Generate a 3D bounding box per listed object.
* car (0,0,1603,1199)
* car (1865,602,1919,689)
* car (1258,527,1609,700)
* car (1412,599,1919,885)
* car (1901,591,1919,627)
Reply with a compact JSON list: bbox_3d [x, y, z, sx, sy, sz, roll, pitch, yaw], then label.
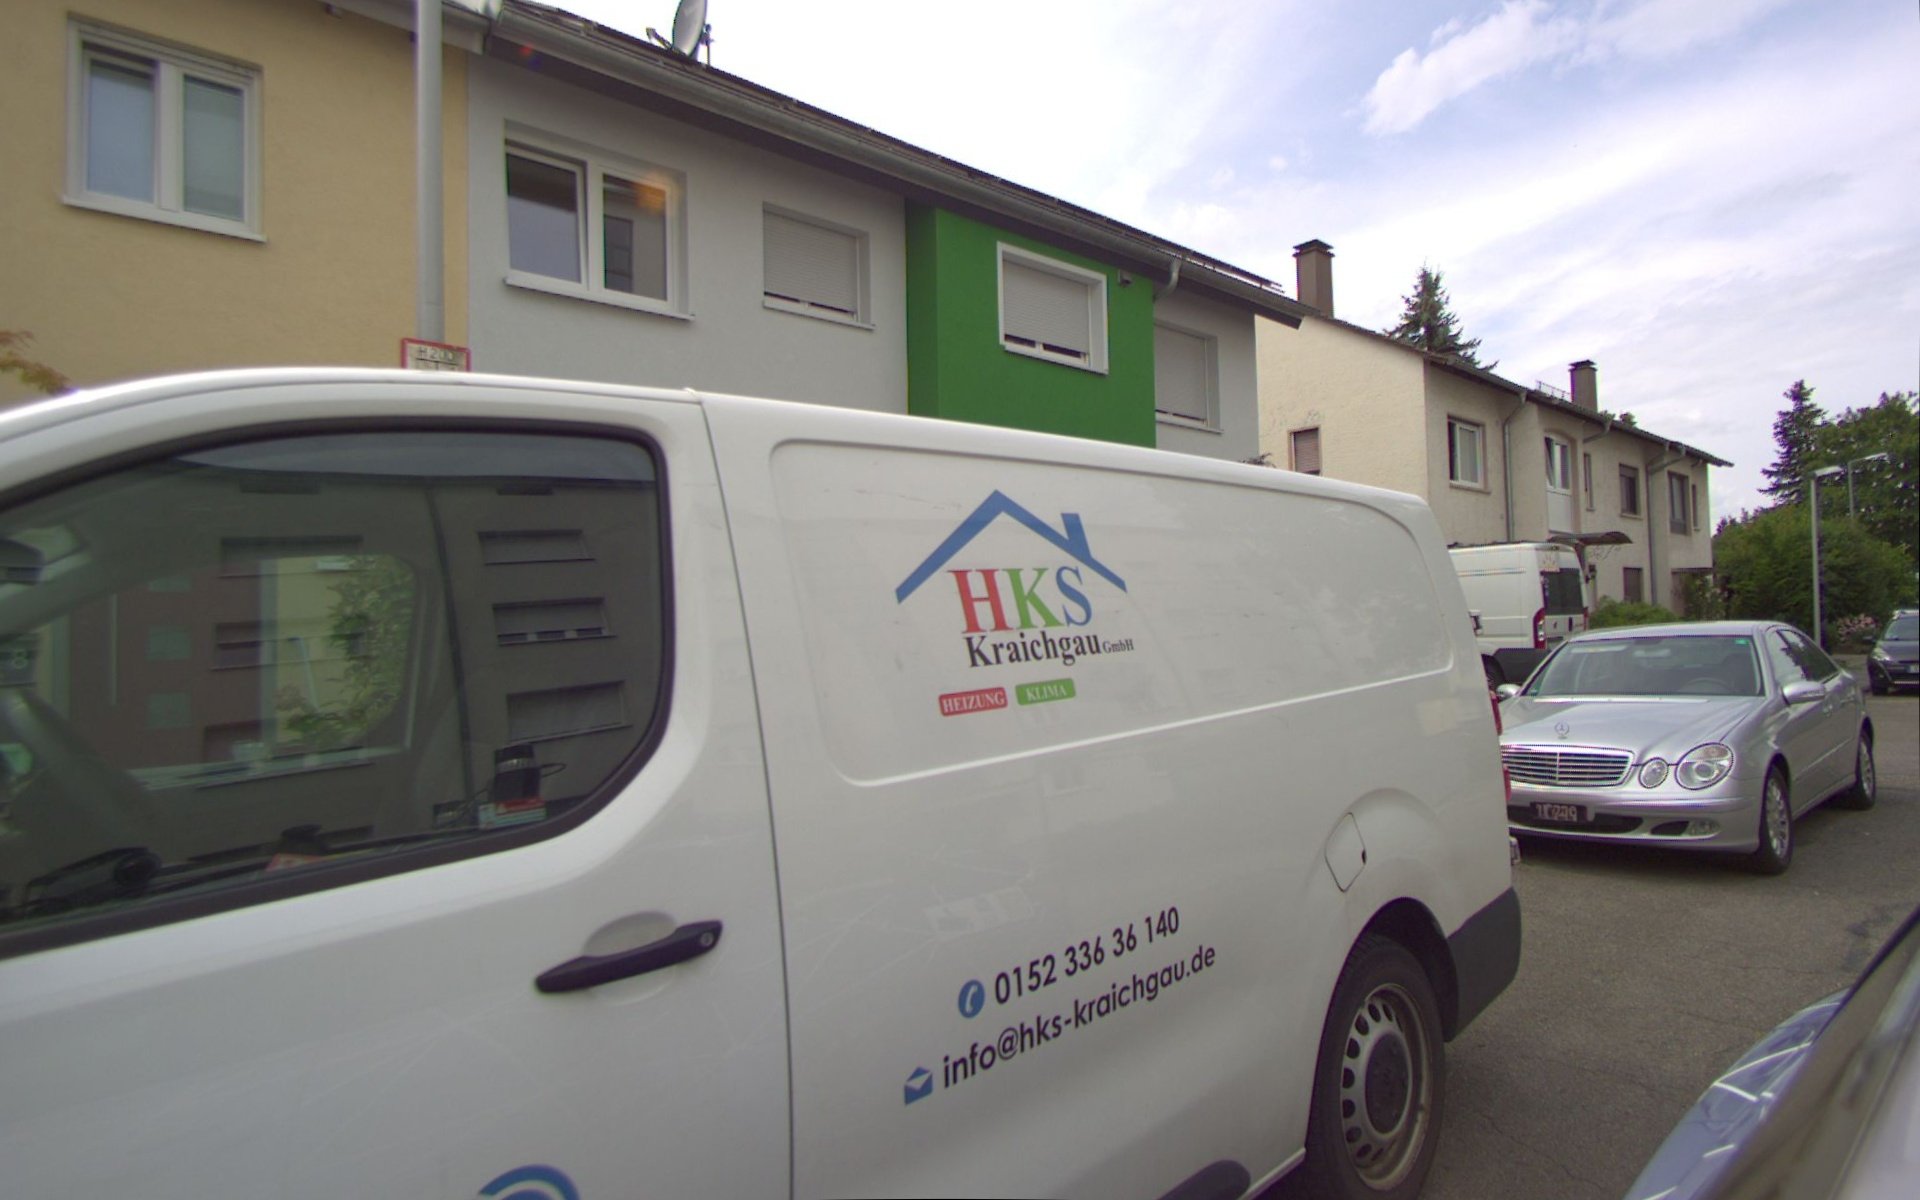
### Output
[{"bbox_3d":[-0.691,0.533,2.073,5.162,1.990,1.906,0,-4,-41],"label":"car"},{"bbox_3d":[17.976,0.753,18.388,4.119,1.477,1.831,0,-3,-43],"label":"car"},{"bbox_3d":[8.051,0.240,17.694,2.198,2.575,5.097,0,-1,-39],"label":"car"},{"bbox_3d":[5.242,0.776,7.275,4.375,1.439,1.786,0,-4,-39],"label":"car"},{"bbox_3d":[42.756,0.357,44.520,3.934,1.485,1.702,-2,-1,-43],"label":"car"}]
